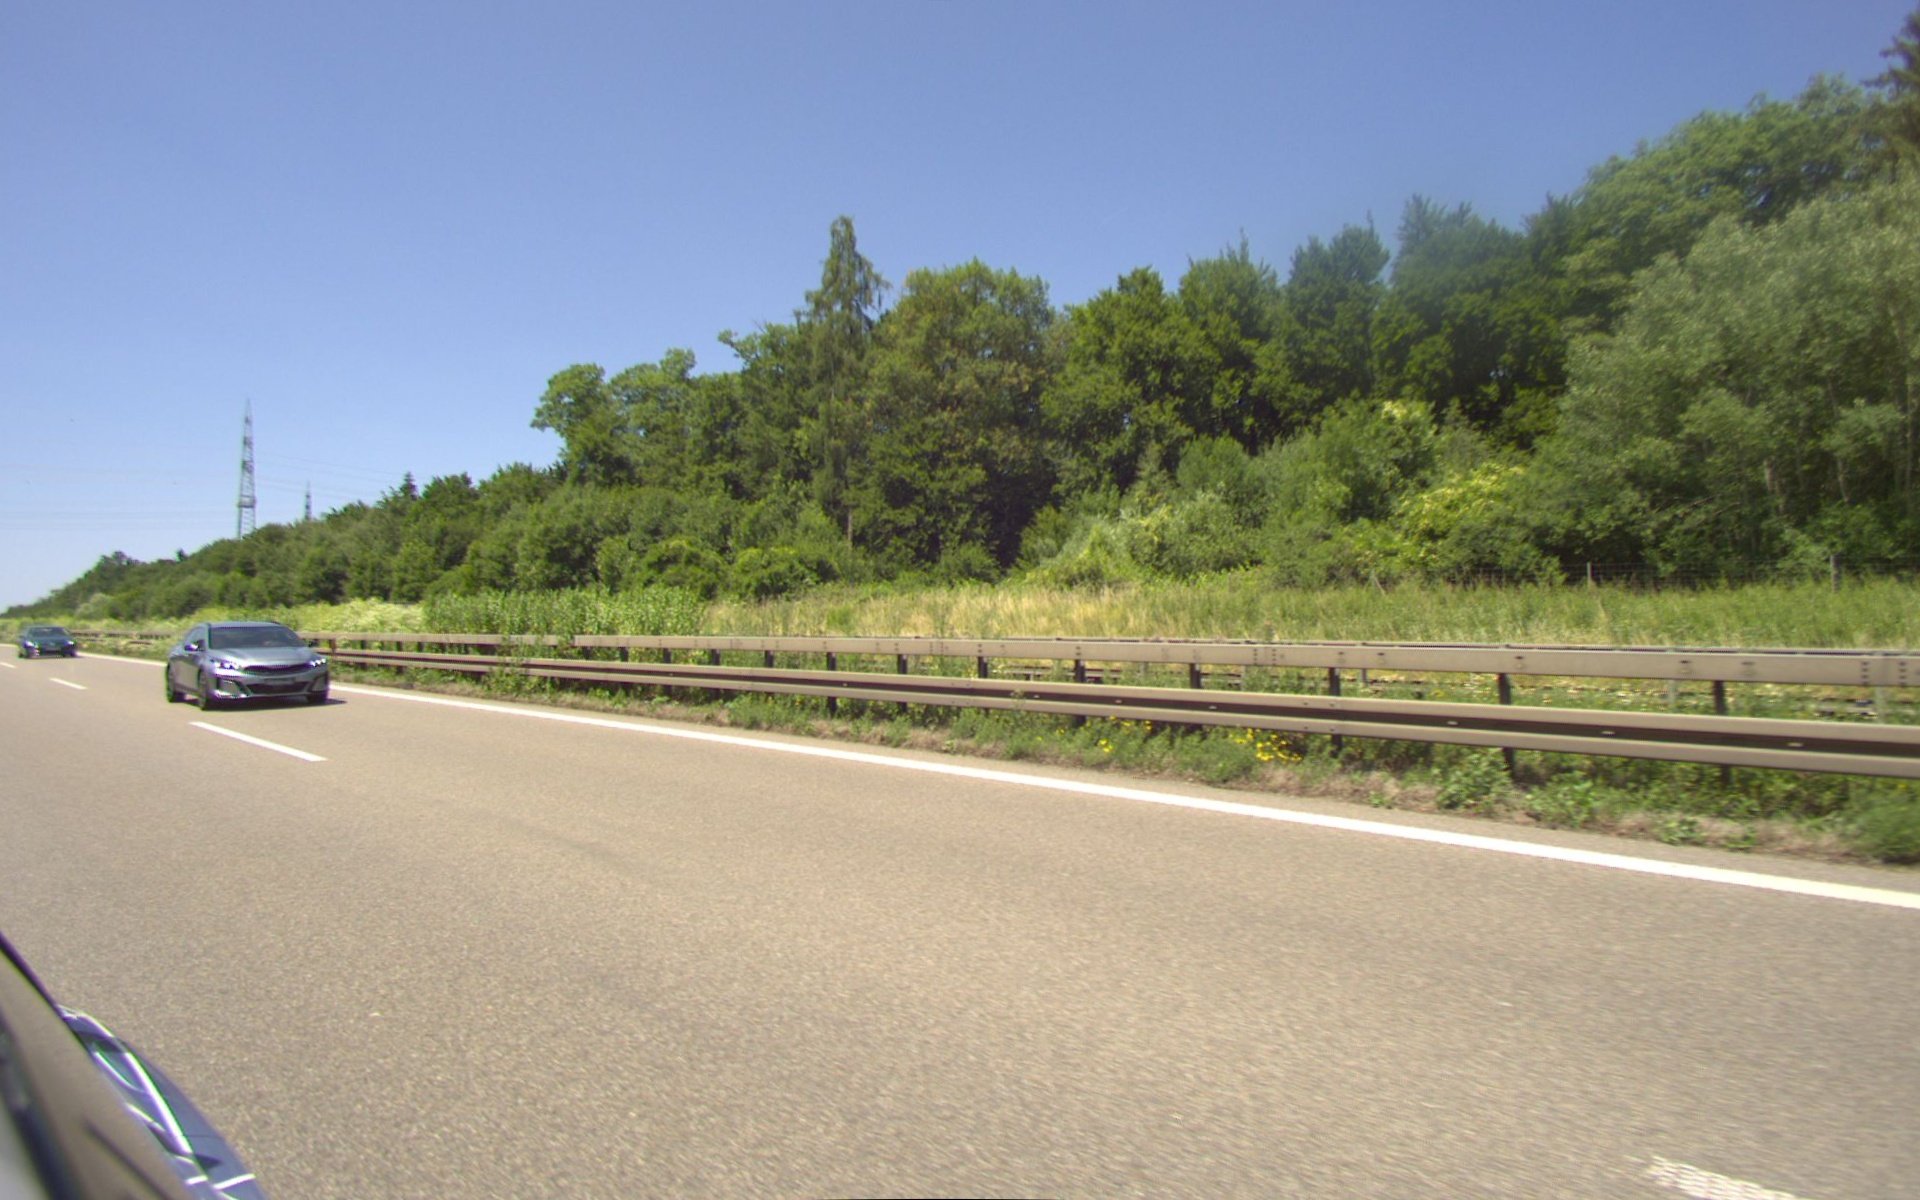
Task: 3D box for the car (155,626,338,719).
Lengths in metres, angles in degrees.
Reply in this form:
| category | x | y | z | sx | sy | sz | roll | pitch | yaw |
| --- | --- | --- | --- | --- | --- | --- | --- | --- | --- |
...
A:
| category | x | y | z | sx | sy | sz | roll | pitch | yaw |
| --- | --- | --- | --- | --- | --- | --- | --- | --- | --- |
| car | -12.666 | 1.197 | 17.892 | 3.997 | 1.419 | 1.745 | -2 | -1 | 41 |

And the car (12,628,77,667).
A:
| category | x | y | z | sx | sy | sz | roll | pitch | yaw |
| --- | --- | --- | --- | --- | --- | --- | --- | --- | --- |
| car | -40.694 | 2.077 | 44.949 | 3.941 | 1.632 | 1.719 | -2 | -1 | 41 |
